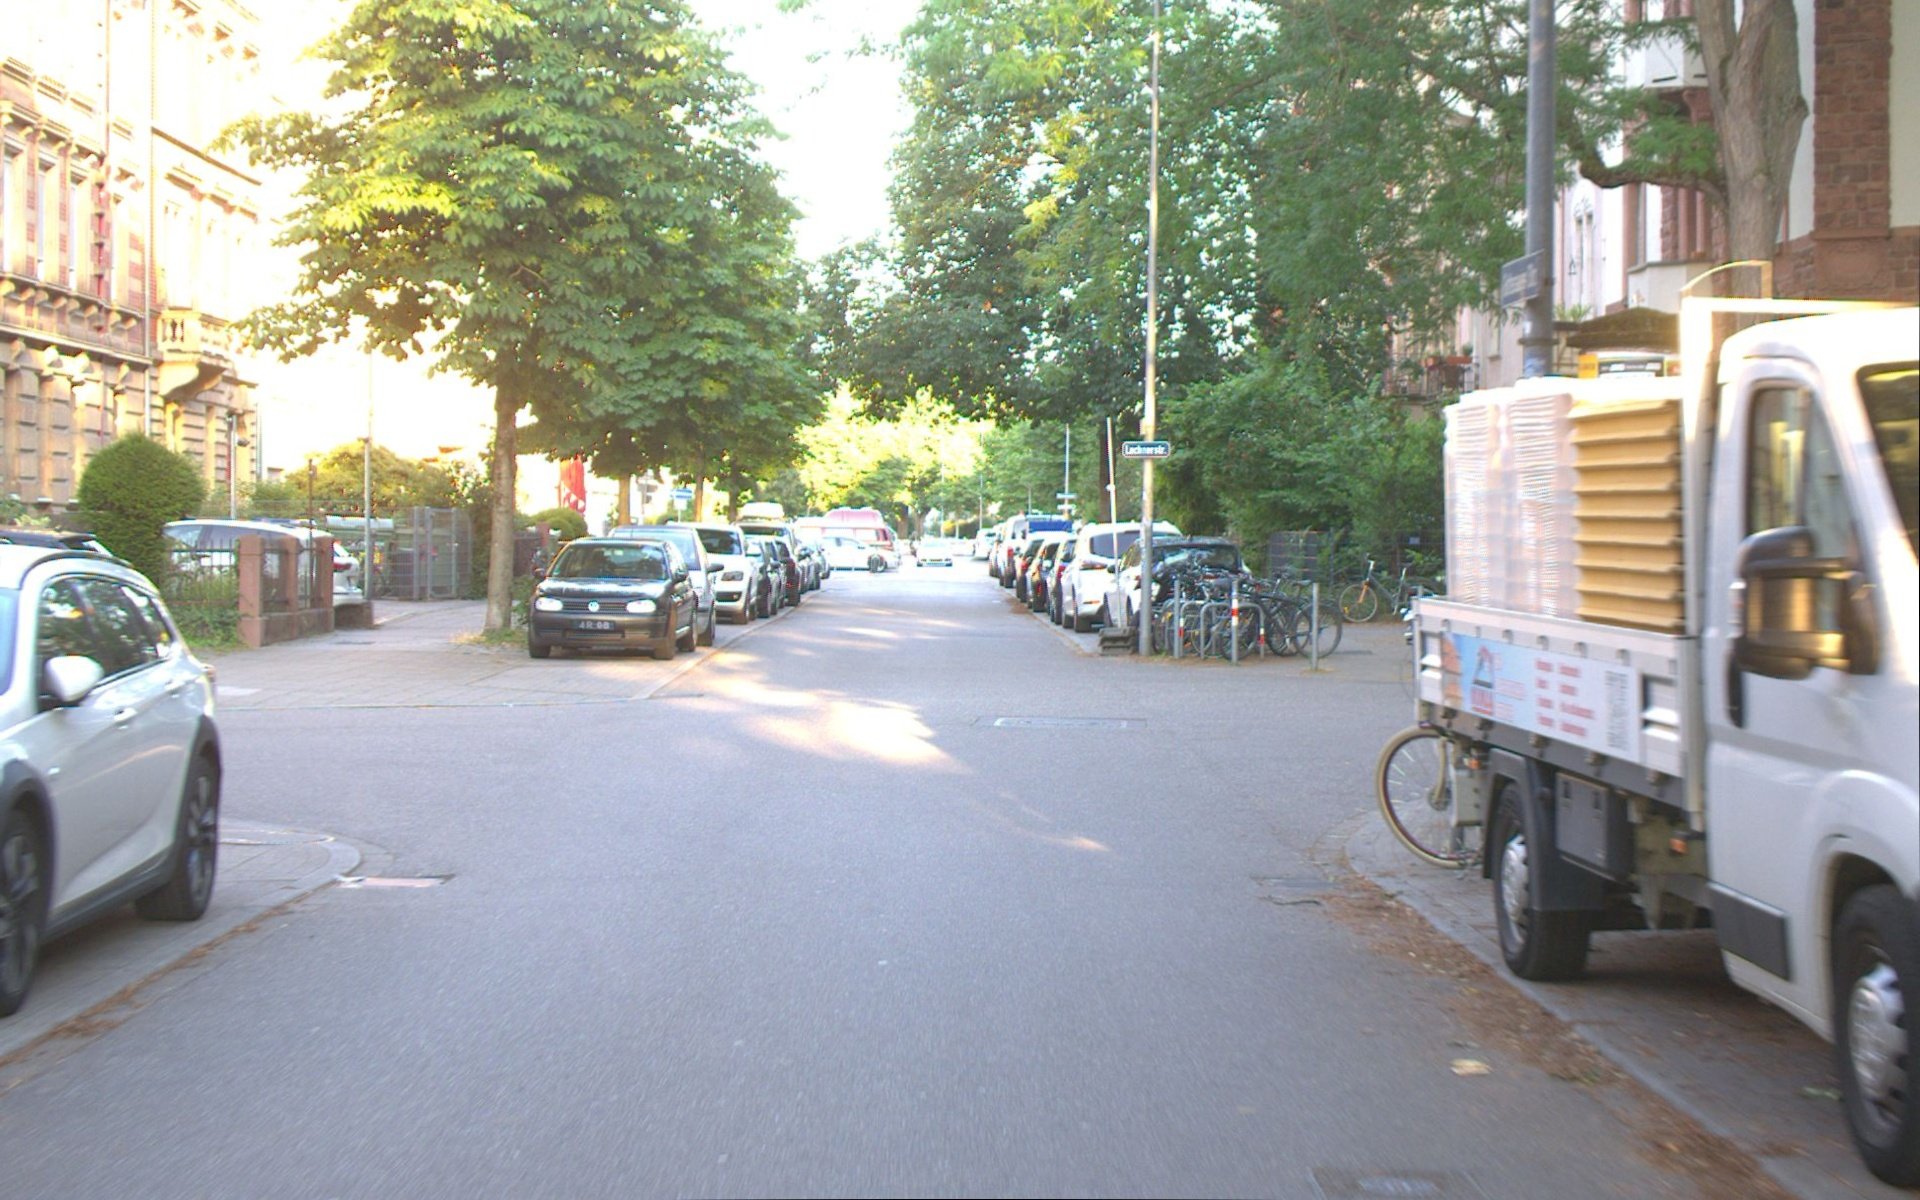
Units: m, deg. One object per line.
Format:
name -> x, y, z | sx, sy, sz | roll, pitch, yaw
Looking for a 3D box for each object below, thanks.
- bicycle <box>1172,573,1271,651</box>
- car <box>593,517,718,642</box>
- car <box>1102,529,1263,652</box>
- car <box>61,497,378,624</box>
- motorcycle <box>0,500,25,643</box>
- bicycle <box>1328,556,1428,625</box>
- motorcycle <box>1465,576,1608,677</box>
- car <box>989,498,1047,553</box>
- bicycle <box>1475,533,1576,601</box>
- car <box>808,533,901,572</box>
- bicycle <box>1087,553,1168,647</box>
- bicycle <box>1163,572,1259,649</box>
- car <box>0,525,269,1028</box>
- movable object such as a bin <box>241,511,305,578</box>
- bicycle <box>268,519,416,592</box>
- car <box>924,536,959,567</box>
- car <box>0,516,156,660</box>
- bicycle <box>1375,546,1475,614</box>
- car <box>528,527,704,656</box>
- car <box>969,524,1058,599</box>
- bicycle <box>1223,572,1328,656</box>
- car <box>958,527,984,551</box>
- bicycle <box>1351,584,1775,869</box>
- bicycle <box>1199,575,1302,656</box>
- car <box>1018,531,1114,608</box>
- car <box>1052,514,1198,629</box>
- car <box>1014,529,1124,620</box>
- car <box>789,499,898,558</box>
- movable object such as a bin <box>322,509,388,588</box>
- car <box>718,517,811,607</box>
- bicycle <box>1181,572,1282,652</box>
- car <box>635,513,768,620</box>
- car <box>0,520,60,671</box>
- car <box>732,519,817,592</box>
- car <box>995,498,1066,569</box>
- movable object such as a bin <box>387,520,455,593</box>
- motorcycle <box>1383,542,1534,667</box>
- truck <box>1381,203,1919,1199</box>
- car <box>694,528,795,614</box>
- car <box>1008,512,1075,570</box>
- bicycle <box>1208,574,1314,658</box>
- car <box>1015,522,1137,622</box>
bicycle -> 3.291, 0.149, 43.276 | 1.224, 0.944, 0.330 | -1, 2, -22
car -> -4.125, -0.313, 46.919 | 1.595, 1.598, 3.745 | 1, 1, -4
car -> 3.013, -0.161, 47.143 | 1.686, 1.587, 3.659 | 0, 1, -4
car -> -10.531, -0.572, 49.092 | 4.092, 1.522, 1.709 | 4, 1, -1
motorcycle -> -12.314, -0.349, 39.767 | 2.853, 1.633, 0.675 | 1, 1, 8
bicycle -> 6.482, -0.149, 53.334 | 1.509, 1.030, 0.330 | -1, 2, -2
motorcycle -> 6.691, 0.292, 39.828 | 0.437, 1.076, 2.207 | 2, 3, 45
car -> 1.958, -2.528, 117.428 | 1.686, 1.805, 3.940 | 1, 1, -3
bicycle -> 8.808, -0.519, 53.591 | 1.509, 1.030, 0.330 | -1, 2, -2
car -> -4.183, -1.898, 136.549 | 3.618, 1.456, 1.607 | 1, 1, -4
bicycle -> 2.152, -0.010, 44.110 | 0.444, 1.169, 1.634 | 1, 1, 25
bicycle -> 3.205, 0.126, 43.889 | 1.224, 0.948, 0.330 | -1, 3, -28
car -> -3.813, 0.506, 12.253 | 1.689, 1.497, 4.738 | 3, 2, 0
movable object such as a bin -> -13.029, -1.059, 65.182 | 1.096, 1.205, 1.005 | 2, 2, -14
bicycle -> -11.242, -0.814, 62.554 | 2.529, 1.188, 0.643 | 3, 2, 6
car -> -0.991, -2.596, 183.236 | 1.813, 1.590, 3.483 | 1, 1, 0
car -> -10.666, -0.168, 36.853 | 3.564, 1.442, 1.817 | 1, 2, 9
bicycle -> 7.307, -0.316, 54.045 | 1.509, 1.030, 0.330 | -1, 2, -2
car -> -4.165, -0.139, 42.126 | 1.616, 1.465, 3.961 | 1, 1, 2
car -> 1.170, -0.852, 76.465 | 1.686, 1.600, 3.940 | 1, 1, -3
bicycle -> 3.824, 0.171, 41.635 | 1.224, 0.984, 0.330 | -1, 2, -4
car -> 0.740, -4.217, 235.821 | 1.715, 1.590, 3.483 | 1, 1, 0
bicycle -> 2.848, 0.585, 16.262 | 1.902, 1.254, 0.407 | -2, 1, -6
bicycle -> 3.562, 0.186, 42.183 | 1.223, 0.960, 0.330 | -1, 2, -17
car -> 2.080, -0.620, 68.417 | 1.686, 1.436, 4.210 | -1, 1, -1
car -> 2.497, -0.455, 53.036 | 1.798, 1.705, 4.601 | 0, 1, -3
car -> 1.970, -0.475, 63.075 | 1.686, 1.600, 3.749 | 1, 1, -3
car -> -4.728, -2.913, 139.419 | 4.349, 2.310, 1.746 | 1, 1, -2
movable object such as a bin -> -11.413, -0.976, 64.829 | 1.096, 1.409, 1.005 | 2, 2, -14
car -> -4.068, -0.821, 71.893 | 1.715, 1.784, 4.216 | 1, 1, 0
bicycle -> 3.368, 0.148, 42.576 | 1.224, 0.954, 0.330 | -1, 2, -22
car -> -4.323, -0.596, 58.103 | 1.921, 1.711, 4.428 | 1, 1, 0
car -> -11.277, -0.092, 34.224 | 4.094, 1.442, 1.817 | 1, 2, 10
car -> -4.219, -1.029, 78.746 | 1.715, 1.590, 4.519 | 1, 1, 0
car -> 1.964, -1.866, 96.737 | 1.680, 1.934, 3.881 | 1, 1, -3
movable object such as a bin -> -10.182, -0.830, 65.000 | 1.013, 1.316, 1.005 | 3, 2, 4
motorcycle -> 5.912, 0.036, 40.704 | 0.585, 1.403, 2.207 | 2, 3, 44
truck -> 2.860, 0.237, 10.687 | 1.977, 2.237, 6.777 | 0, 1, -3
car -> -4.129, -0.585, 66.402 | 1.715, 1.561, 3.788 | 1, 1, 0
car -> 2.175, -1.574, 92.616 | 1.538, 1.516, 3.432 | 1, 1, -3
bicycle -> 3.613, 0.191, 41.263 | 1.224, 0.983, 0.330 | -1, 2, -2
car -> 1.931, -0.485, 58.279 | 1.686, 1.600, 4.210 | 1, 1, -3
